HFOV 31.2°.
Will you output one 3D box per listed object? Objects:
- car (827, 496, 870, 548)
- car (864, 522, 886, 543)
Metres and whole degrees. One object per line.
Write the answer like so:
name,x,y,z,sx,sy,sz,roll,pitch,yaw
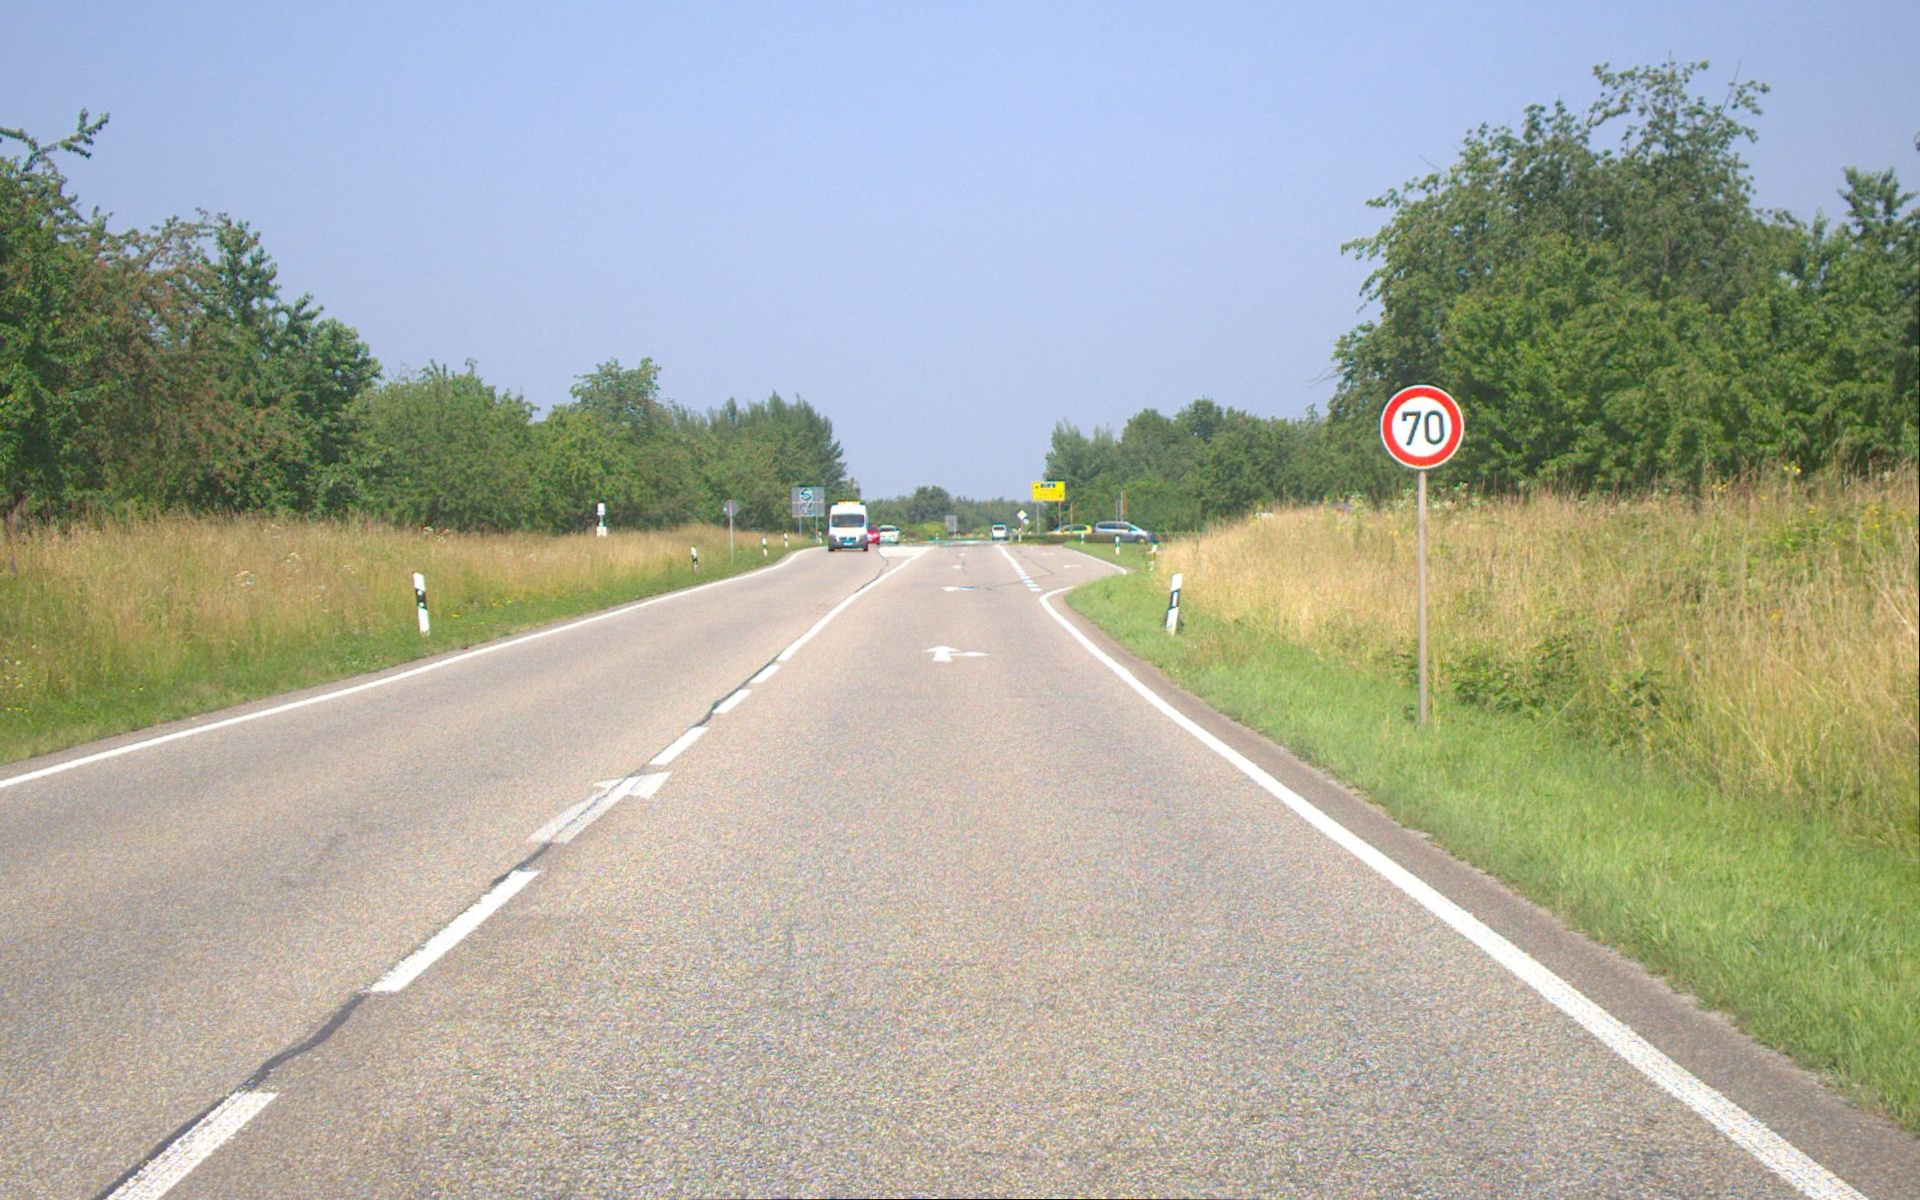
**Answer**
car,-5.875,-4.117,182.057,2.161,2.659,6.144,0,1,-1
car,-6.205,-4.938,251.334,1.625,1.452,3.622,0,1,-1
